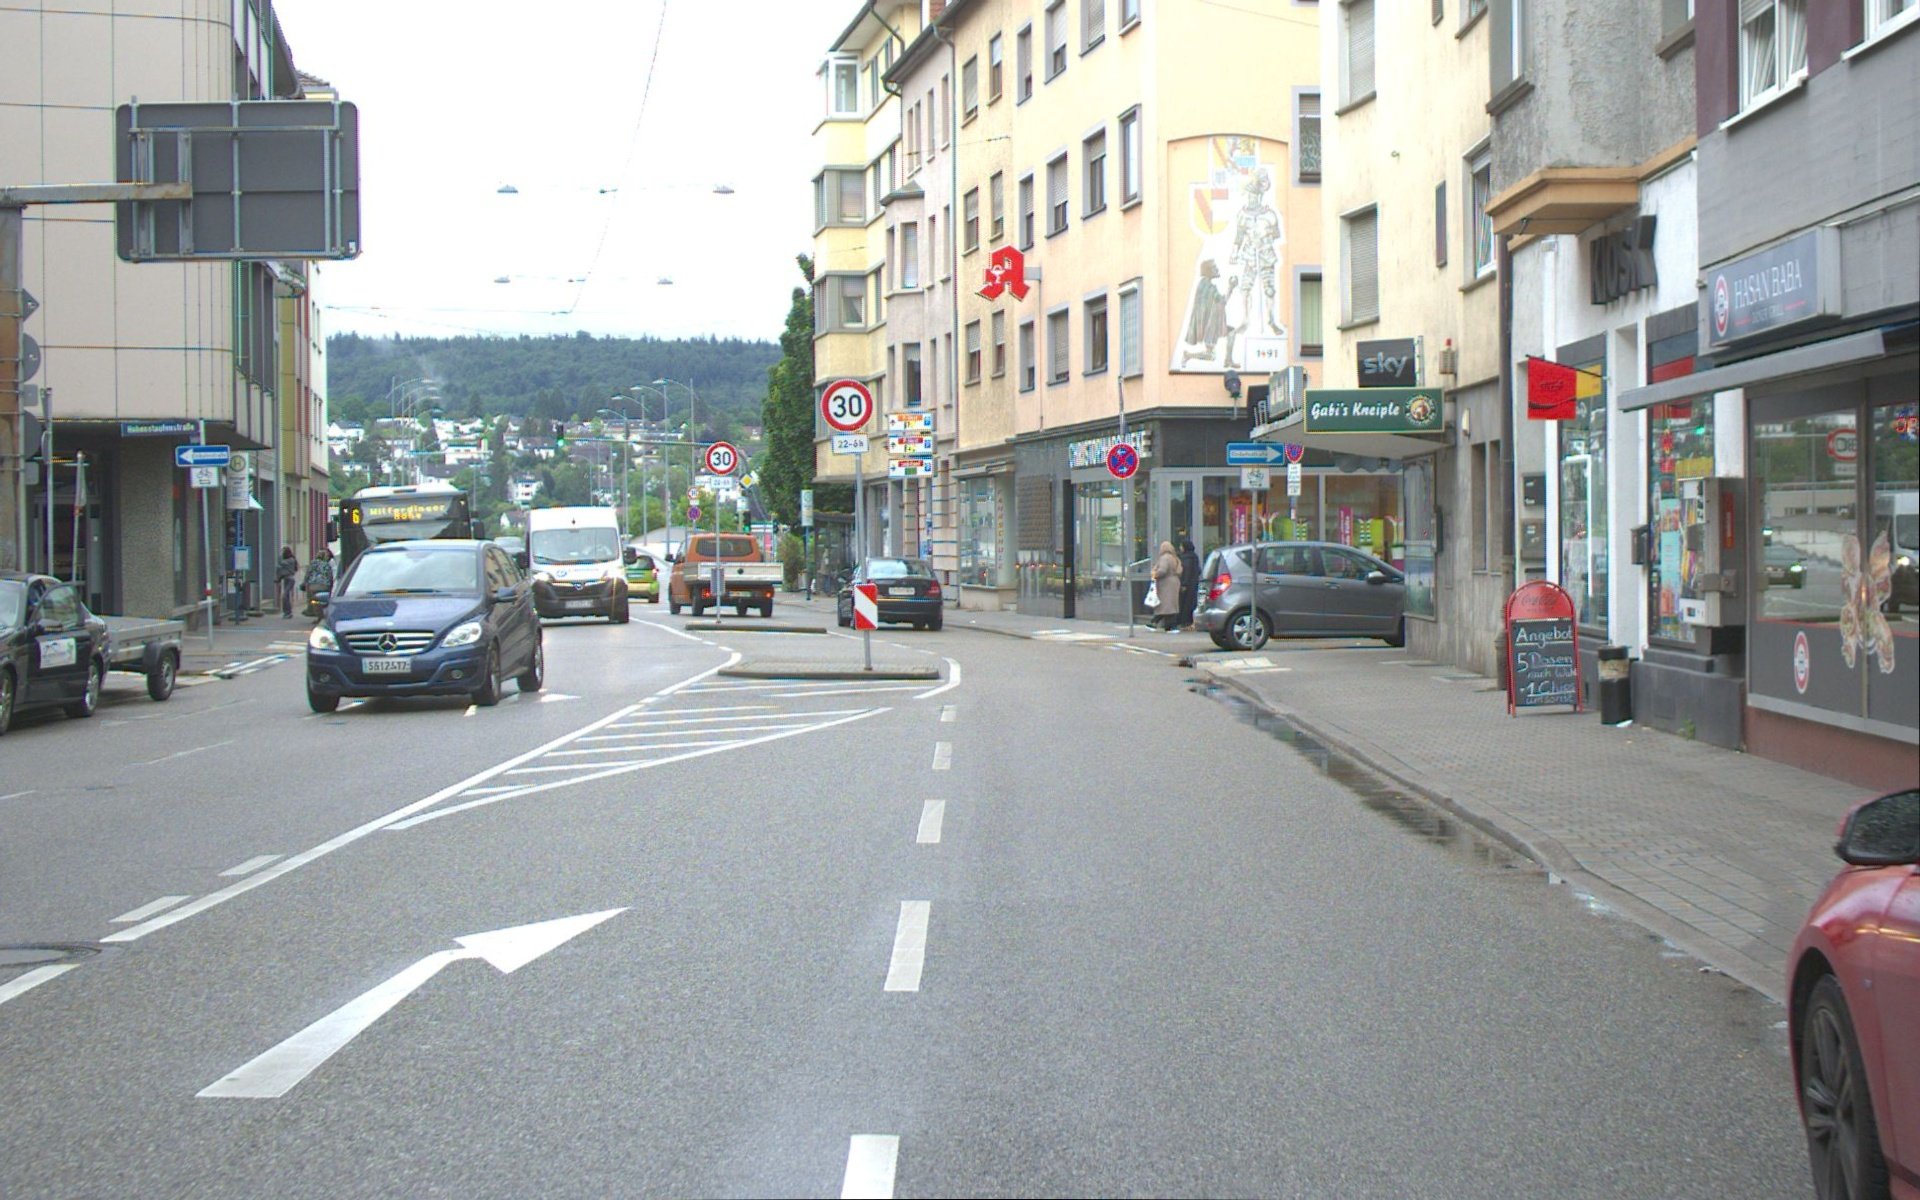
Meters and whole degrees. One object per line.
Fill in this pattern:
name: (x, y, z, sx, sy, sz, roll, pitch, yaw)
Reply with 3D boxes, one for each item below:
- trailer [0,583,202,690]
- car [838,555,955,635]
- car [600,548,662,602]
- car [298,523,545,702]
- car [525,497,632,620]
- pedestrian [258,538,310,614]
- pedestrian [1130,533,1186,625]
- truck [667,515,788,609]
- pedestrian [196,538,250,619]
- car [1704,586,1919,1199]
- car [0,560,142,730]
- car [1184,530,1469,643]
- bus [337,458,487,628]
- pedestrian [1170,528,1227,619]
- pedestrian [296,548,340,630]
trailer: (-9.185, 0.358, 36.176, 1.588, 0.946, 3.056, 4, 1, 2)
car: (-1.259, -0.100, 66.058, 1.754, 1.474, 4.001, -1, 0, -8)
car: (-10.436, -0.780, 108.939, 1.754, 1.646, 4.001, -1, 0, -8)
car: (-5.299, 0.102, 34.318, 1.754, 1.646, 4.307, -1, 0, 0)
car: (-8.051, -0.849, 72.138, 2.086, 2.427, 6.354, -1, 0, -7)
pedestrian: (-15.078, -0.531, 76.726, 0.999, 1.678, 1.266, -1, 0, -6)
pedestrian: (3.375, -0.360, 58.716, 0.778, 1.554, 0.783, -1, 0, -10)
truck: (-5.560, -0.888, 81.589, 2.399, 2.122, 5.316, -1, 0, -8)
pedestrian: (-14.708, -0.431, 68.632, 0.945, 1.584, 0.835, -1, 0, -6)
car: (2.625, 0.690, 5.915, 1.744, 1.364, 4.315, -1, 1, 0)
car: (-9.172, 0.353, 32.178, 1.850, 1.393, 4.793, 2, 1, 0)
car: (5.340, -0.207, 50.433, 3.824, 1.568, 1.937, -1, 0, -5)
bus: (-10.970, -1.097, 69.219, 2.758, 3.177, 8.914, -1, 0, -8)
pedestrian: (4.105, -0.457, 59.223, 0.768, 1.554, 0.876, -1, 0, -10)
pedestrian: (-13.351, -0.231, 71.471, 0.876, 1.686, 0.889, -1, 0, -11)
